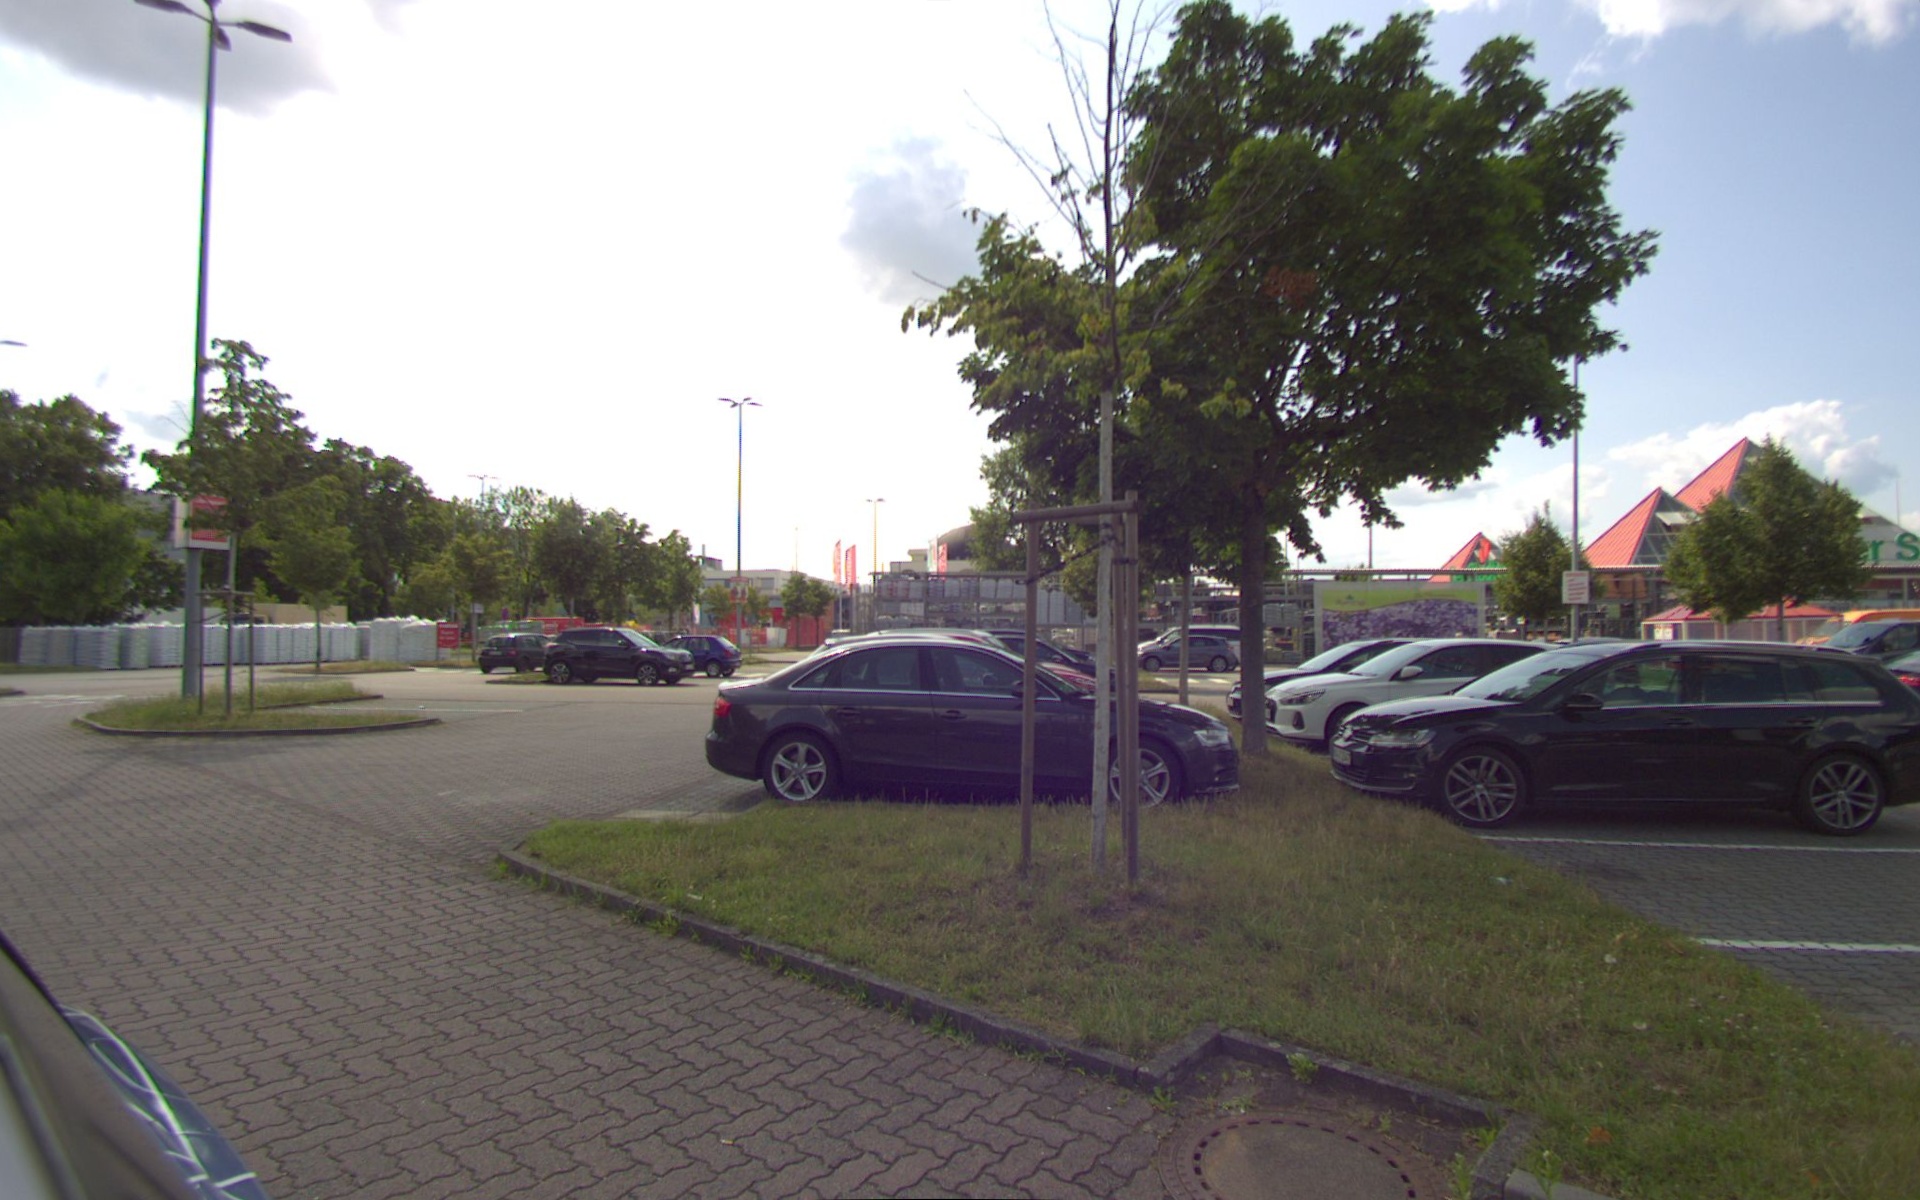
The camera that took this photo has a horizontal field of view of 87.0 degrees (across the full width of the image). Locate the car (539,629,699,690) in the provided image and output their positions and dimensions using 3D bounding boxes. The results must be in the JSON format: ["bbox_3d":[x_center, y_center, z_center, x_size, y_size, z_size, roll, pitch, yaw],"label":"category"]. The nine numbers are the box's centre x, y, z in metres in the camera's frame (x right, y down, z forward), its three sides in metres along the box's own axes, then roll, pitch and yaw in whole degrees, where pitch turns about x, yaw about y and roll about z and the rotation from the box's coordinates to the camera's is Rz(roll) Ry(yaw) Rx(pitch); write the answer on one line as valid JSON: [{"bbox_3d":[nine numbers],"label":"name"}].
[{"bbox_3d":[-9.532,1.650,28.457,3.918,1.637,1.731,0,-2,9],"label":"car"}]

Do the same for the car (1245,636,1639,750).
[{"bbox_3d":[6.103,1.155,13.277,4.226,1.363,1.892,0,-2,4],"label":"car"}]

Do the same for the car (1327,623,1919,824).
[{"bbox_3d":[5.340,0.913,8.295,4.014,1.362,1.791,0,1,4],"label":"car"}]

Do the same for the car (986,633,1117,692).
[{"bbox_3d":[2.594,1.796,29.395,3.656,1.637,1.783,0,-2,1],"label":"car"}]

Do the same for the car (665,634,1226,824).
[{"bbox_3d":[-0.096,1.029,8.912,4.489,1.443,1.767,0,-2,8],"label":"car"}]

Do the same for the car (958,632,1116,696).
[{"bbox_3d":[2.022,1.689,26.949,4.031,1.637,1.781,0,-2,4],"label":"car"}]

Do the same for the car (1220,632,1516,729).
[{"bbox_3d":[6.139,1.190,15.629,3.843,1.293,1.821,0,1,6],"label":"car"}]

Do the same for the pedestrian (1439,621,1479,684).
[{"bbox_3d":[16.255,1.704,32.983,0.903,2.029,0.816,0,-2,5],"label":"pedestrian"}]

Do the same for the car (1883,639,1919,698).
[{"bbox_3d":[24.787,1.643,24.243,3.521,1.397,1.738,0,-2,9],"label":"car"}]

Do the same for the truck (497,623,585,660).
[{"bbox_3d":[-29.953,2.971,72.459,5.375,2.534,2.114,0,-3,4],"label":"truck"}]

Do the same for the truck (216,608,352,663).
[{"bbox_3d":[-48.028,2.570,72.322,2.698,3.626,9.013,0,-3,8],"label":"truck"}]

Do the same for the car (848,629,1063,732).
[{"bbox_3d":[-0.030,1.296,16.785,3.403,1.593,1.707,0,-2,5],"label":"car"}]

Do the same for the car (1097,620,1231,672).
[{"bbox_3d":[8.201,1.851,41.133,5.124,2.029,1.996,0,-2,7],"label":"car"}]

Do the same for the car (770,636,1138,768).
[{"bbox_3d":[-0.032,1.105,11.589,3.951,1.380,1.576,0,-2,6],"label":"car"}]

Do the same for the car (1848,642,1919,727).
[{"bbox_3d":[17.633,1.377,16.727,4.195,1.374,1.743,0,-2,3],"label":"car"}]

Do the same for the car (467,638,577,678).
[{"bbox_3d":[-15.512,2.032,36.038,1.597,1.331,3.767,-1,-2,16],"label":"car"}]

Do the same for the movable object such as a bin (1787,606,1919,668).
[{"bbox_3d":[38.488,1.562,42.687,5.264,2.513,2.129,0,-2,2],"label":"movable object such as a bin"}]

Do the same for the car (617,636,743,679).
[{"bbox_3d":[-9.249,1.887,33.587,3.717,1.378,1.618,0,-3,7],"label":"car"}]

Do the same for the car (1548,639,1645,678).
[{"bbox_3d":[25.932,2.368,41.307,2.954,1.432,1.458,0,1,8],"label":"car"}]

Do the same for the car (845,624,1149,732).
[{"bbox_3d":[0.521,1.069,14.350,4.036,1.409,1.764,0,-2,5],"label":"car"}]

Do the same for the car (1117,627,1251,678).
[{"bbox_3d":[9.556,2.219,43.570,5.523,1.958,1.993,0,1,11],"label":"car"}]
